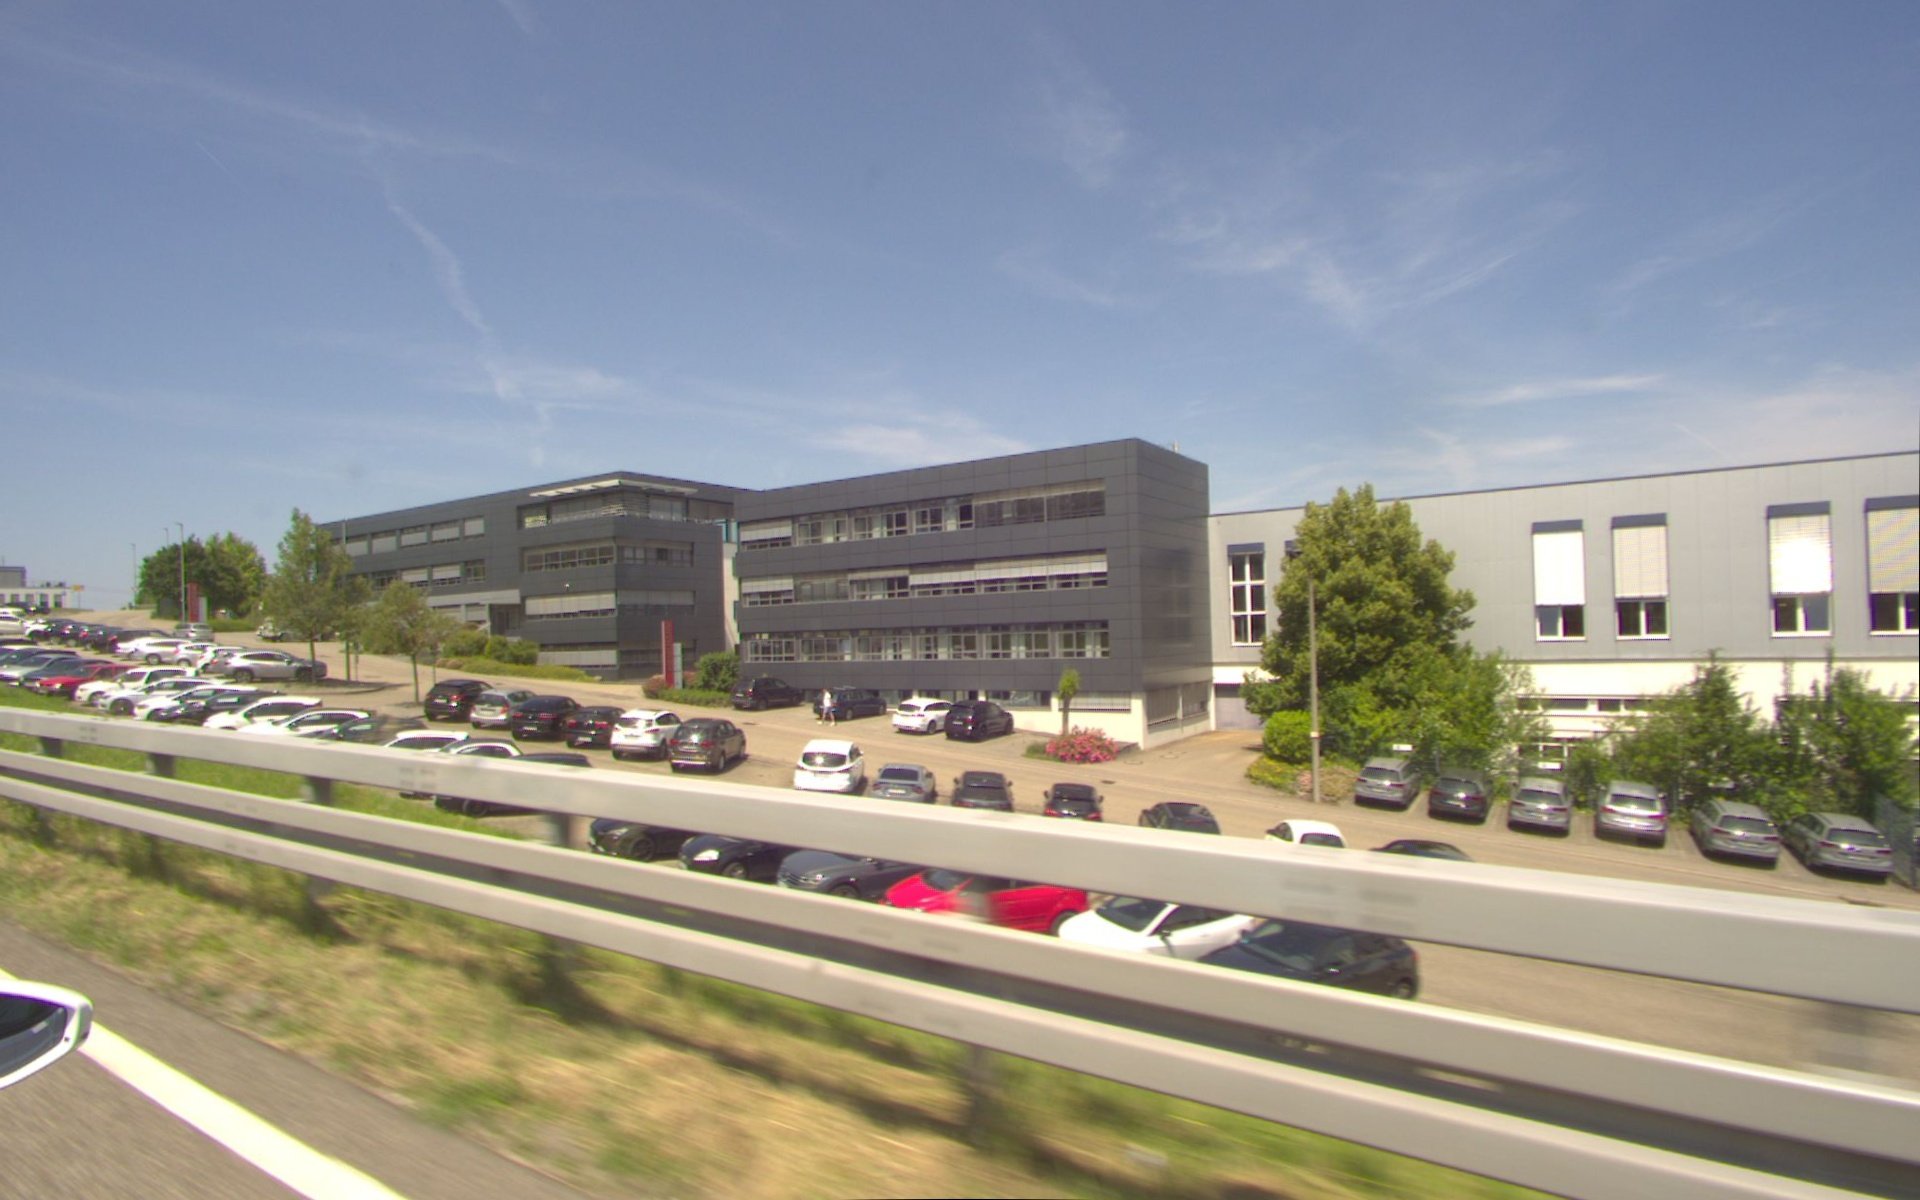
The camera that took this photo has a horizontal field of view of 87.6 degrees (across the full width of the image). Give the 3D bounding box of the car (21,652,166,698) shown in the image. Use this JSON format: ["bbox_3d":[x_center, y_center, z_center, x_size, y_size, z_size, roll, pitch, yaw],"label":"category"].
[{"bbox_3d":[-37.310,3.283,43.261,1.852,1.705,4.381,4,-4,12],"label":"car"}]

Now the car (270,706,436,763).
[{"bbox_3d":[-19.307,4.319,32.076,4.319,1.473,1.810,7,-5,-29],"label":"car"}]

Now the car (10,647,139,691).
[{"bbox_3d":[-39.734,3.123,45.087,1.852,1.705,4.382,5,-4,-2],"label":"car"}]

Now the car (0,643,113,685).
[{"bbox_3d":[-42.342,3.000,46.715,1.852,1.705,4.382,5,-4,-2],"label":"car"}]

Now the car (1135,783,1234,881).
[{"bbox_3d":[5.898,6.105,26.809,1.756,1.560,4.412,4,-1,3],"label":"car"}]

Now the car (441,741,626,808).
[{"bbox_3d":[-11.567,4.770,27.251,4.324,1.508,1.701,8,-5,-33],"label":"car"}]

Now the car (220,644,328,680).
[{"bbox_3d":[-35.771,3.234,52.355,4.523,1.651,1.810,2,1,-31],"label":"car"}]

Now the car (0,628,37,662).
[{"bbox_3d":[-52.799,2.333,53.835,1.852,1.705,4.383,4,-4,6],"label":"car"}]

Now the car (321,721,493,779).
[{"bbox_3d":[-16.628,4.543,30.300,4.319,1.411,1.810,7,-5,-29],"label":"car"}]

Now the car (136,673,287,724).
[{"bbox_3d":[-28.503,3.792,38.328,4.323,1.577,1.877,8,-5,-32],"label":"car"}]

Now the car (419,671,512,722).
[{"bbox_3d":[-21.678,4.188,44.086,1.785,1.650,4.240,5,1,1],"label":"car"}]

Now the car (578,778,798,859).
[{"bbox_3d":[-6.449,5.190,23.923,4.665,1.505,1.904,7,-5,-30],"label":"car"}]

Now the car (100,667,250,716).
[{"bbox_3d":[-31.328,3.675,40.142,4.316,1.577,1.880,7,-5,-27],"label":"car"}]

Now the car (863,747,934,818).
[{"bbox_3d":[-1.857,5.632,31.274,1.756,1.395,4.160,5,-1,1],"label":"car"}]

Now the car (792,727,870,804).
[{"bbox_3d":[-4.112,5.301,32.606,1.756,1.681,4.587,5,-1,1],"label":"car"}]

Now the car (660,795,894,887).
[{"bbox_3d":[-4.048,5.315,22.365,4.665,1.582,1.950,7,-5,-30],"label":"car"}]

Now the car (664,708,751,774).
[{"bbox_3d":[-8.974,5.002,36.015,1.756,1.681,4.587,5,-1,1],"label":"car"}]

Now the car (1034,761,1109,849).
[{"bbox_3d":[3.094,5.745,28.545,1.756,1.556,4.412,4,-1,3],"label":"car"}]

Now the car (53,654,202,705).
[{"bbox_3d":[-34.365,3.297,41.515,4.408,1.705,1.876,8,-5,-34],"label":"car"}]

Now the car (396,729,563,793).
[{"bbox_3d":[-13.843,4.670,28.922,4.076,1.536,1.669,8,-5,-33],"label":"car"}]

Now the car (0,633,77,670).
[{"bbox_3d":[-47.599,2.573,50.515,1.852,1.705,4.383,4,-4,6],"label":"car"}]

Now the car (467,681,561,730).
[{"bbox_3d":[-19.024,4.453,42.947,1.785,1.559,4.587,5,-1,1],"label":"car"}]

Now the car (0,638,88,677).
[{"bbox_3d":[-45.021,2.775,48.419,1.852,1.705,4.382,5,-4,-2],"label":"car"}]

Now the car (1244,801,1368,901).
[{"bbox_3d":[8.669,6.271,25.485,1.756,1.623,4.417,4,-4,3],"label":"car"}]

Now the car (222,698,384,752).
[{"bbox_3d":[-21.827,4.186,33.469,4.323,1.473,1.808,8,-5,-32],"label":"car"}]

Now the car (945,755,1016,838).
[{"bbox_3d":[0.542,5.713,29.577,1.756,1.530,4.411,5,-1,-2],"label":"car"}]

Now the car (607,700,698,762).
[{"bbox_3d":[-11.486,4.871,37.749,1.785,1.681,4.587,5,-1,1],"label":"car"}]

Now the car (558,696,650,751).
[{"bbox_3d":[-13.912,4.795,39.449,1.785,1.533,4.587,5,-1,1],"label":"car"}]

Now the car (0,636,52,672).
[{"bbox_3d":[-50.055,2.732,51.725,1.852,1.705,4.383,4,-4,6],"label":"car"}]

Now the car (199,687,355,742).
[{"bbox_3d":[-23.985,4.048,35.376,4.323,1.577,1.851,8,-5,-32],"label":"car"}]

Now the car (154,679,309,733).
[{"bbox_3d":[-26.497,3.886,36.643,4.323,1.577,1.877,8,-5,-32],"label":"car"}]

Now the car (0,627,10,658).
[{"bbox_3d":[-55.359,2.167,54.949,1.852,1.705,4.383,4,-4,6],"label":"car"}]

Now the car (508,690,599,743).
[{"bbox_3d":[-16.296,4.626,40.422,1.785,1.533,4.587,5,-1,-1],"label":"car"}]
